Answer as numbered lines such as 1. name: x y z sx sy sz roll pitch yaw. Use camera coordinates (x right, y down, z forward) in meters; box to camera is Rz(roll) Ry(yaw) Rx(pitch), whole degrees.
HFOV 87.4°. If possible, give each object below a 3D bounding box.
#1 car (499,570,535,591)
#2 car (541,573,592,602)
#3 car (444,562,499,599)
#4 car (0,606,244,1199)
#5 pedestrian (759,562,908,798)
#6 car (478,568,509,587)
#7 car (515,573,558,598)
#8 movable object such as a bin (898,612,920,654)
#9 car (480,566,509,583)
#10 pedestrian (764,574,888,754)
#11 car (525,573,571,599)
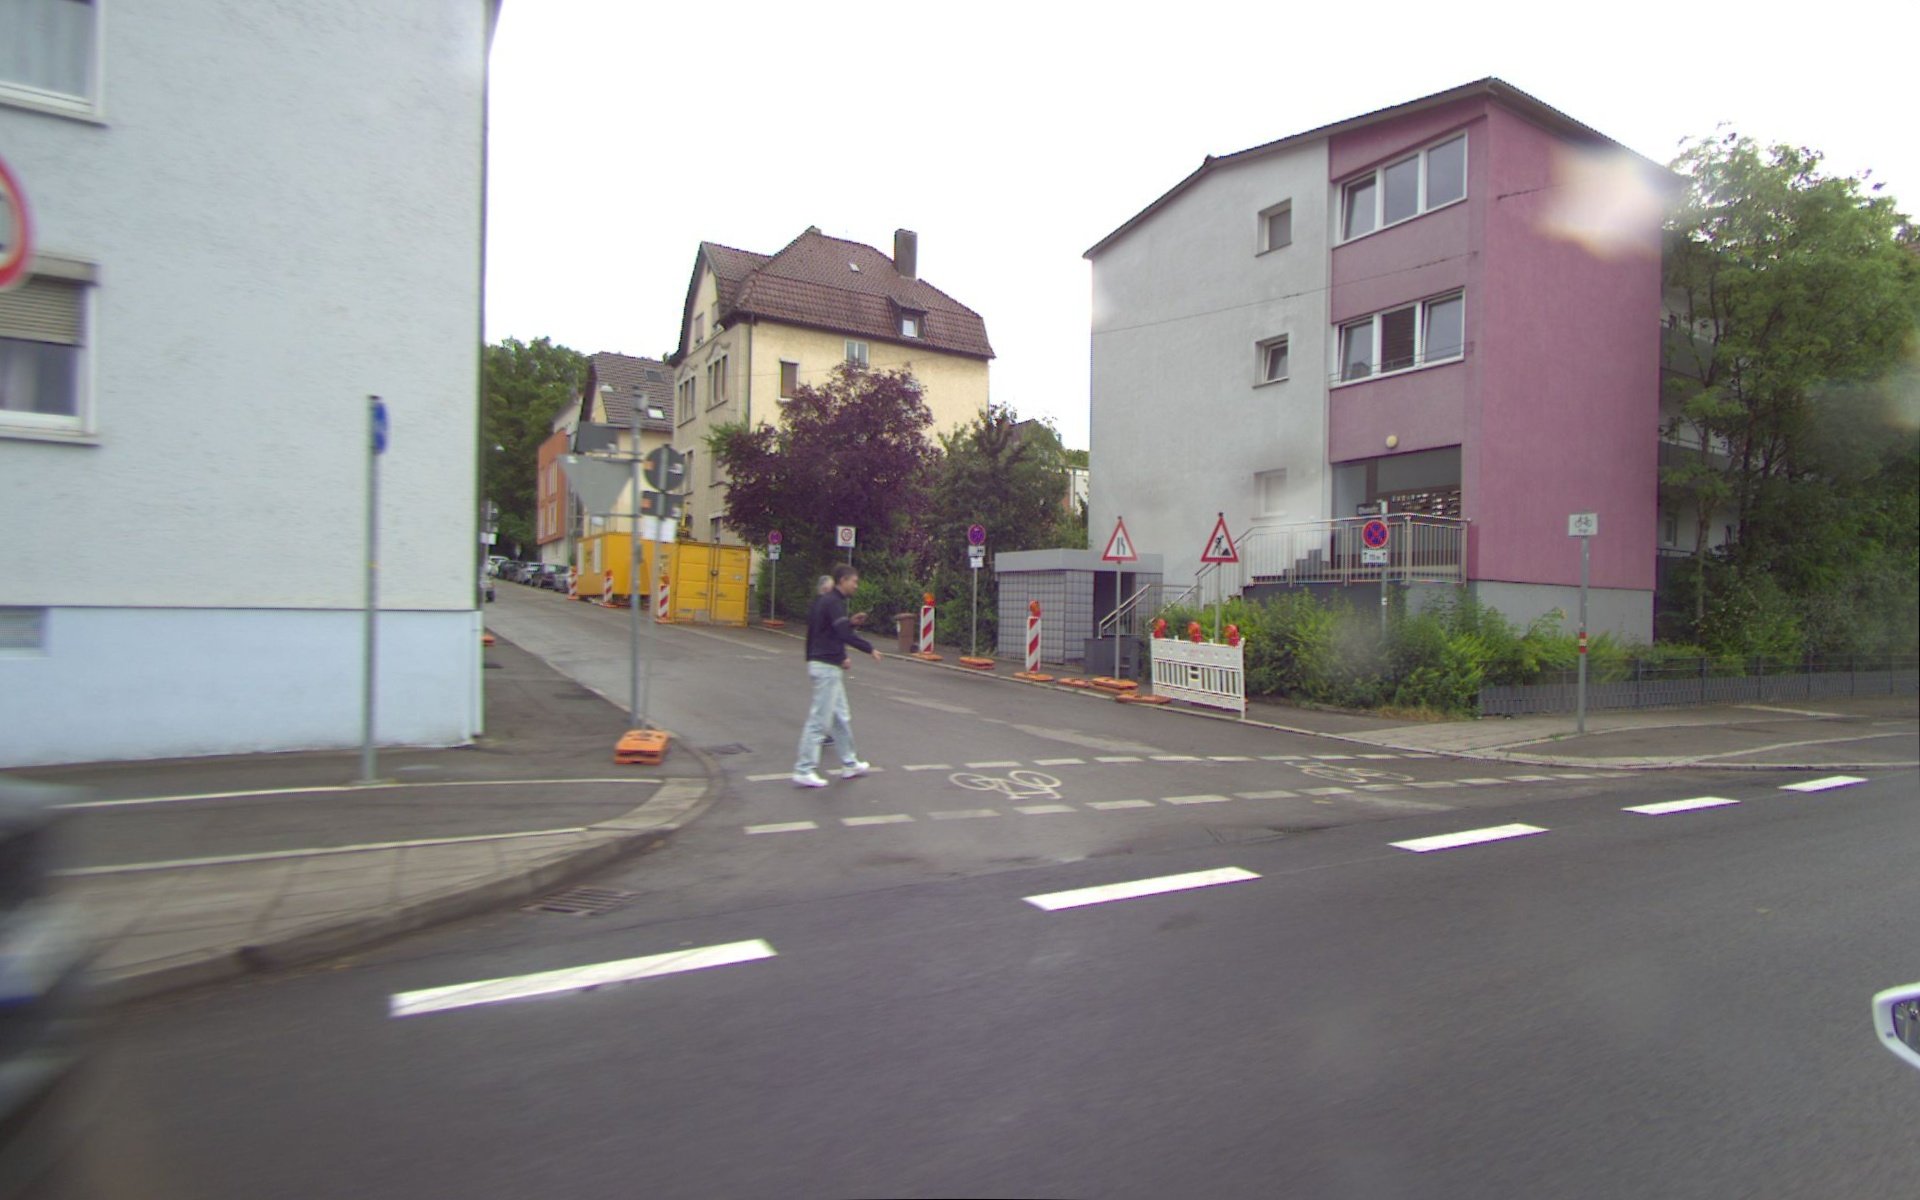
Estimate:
1. car: -27.955 -1.238 63.344 1.611 1.230 3.371 0 2 -33
2. car: -18.829 -0.619 47.998 1.611 1.230 3.371 0 2 -33
3. car: -20.073 -0.816 41.198 1.611 1.428 3.370 0 2 -33
4. car: -3.577 0.719 1.065 4.334 1.472 1.776 1 -1 -27
5. pedestrian: -1.111 0.652 8.768 1.032 1.908 0.857 0 0 -33
6. car: -33.819 -1.638 72.758 1.611 1.230 3.371 0 2 -33
7. car: -23.365 -0.808 55.336 1.611 1.230 3.371 0 2 -33
8. movable object such as a bin: -1.233 0.785 24.218 0.429 0.992 0.325 1 0 -35
9. car: -36.491 -2.015 78.684 1.611 1.230 3.371 0 2 -33
10. pedestrian: -1.460 0.656 10.921 1.103 1.846 0.801 0 1 -31
11. car: -21.289 -0.720 51.842 1.611 1.230 3.371 0 2 -33
